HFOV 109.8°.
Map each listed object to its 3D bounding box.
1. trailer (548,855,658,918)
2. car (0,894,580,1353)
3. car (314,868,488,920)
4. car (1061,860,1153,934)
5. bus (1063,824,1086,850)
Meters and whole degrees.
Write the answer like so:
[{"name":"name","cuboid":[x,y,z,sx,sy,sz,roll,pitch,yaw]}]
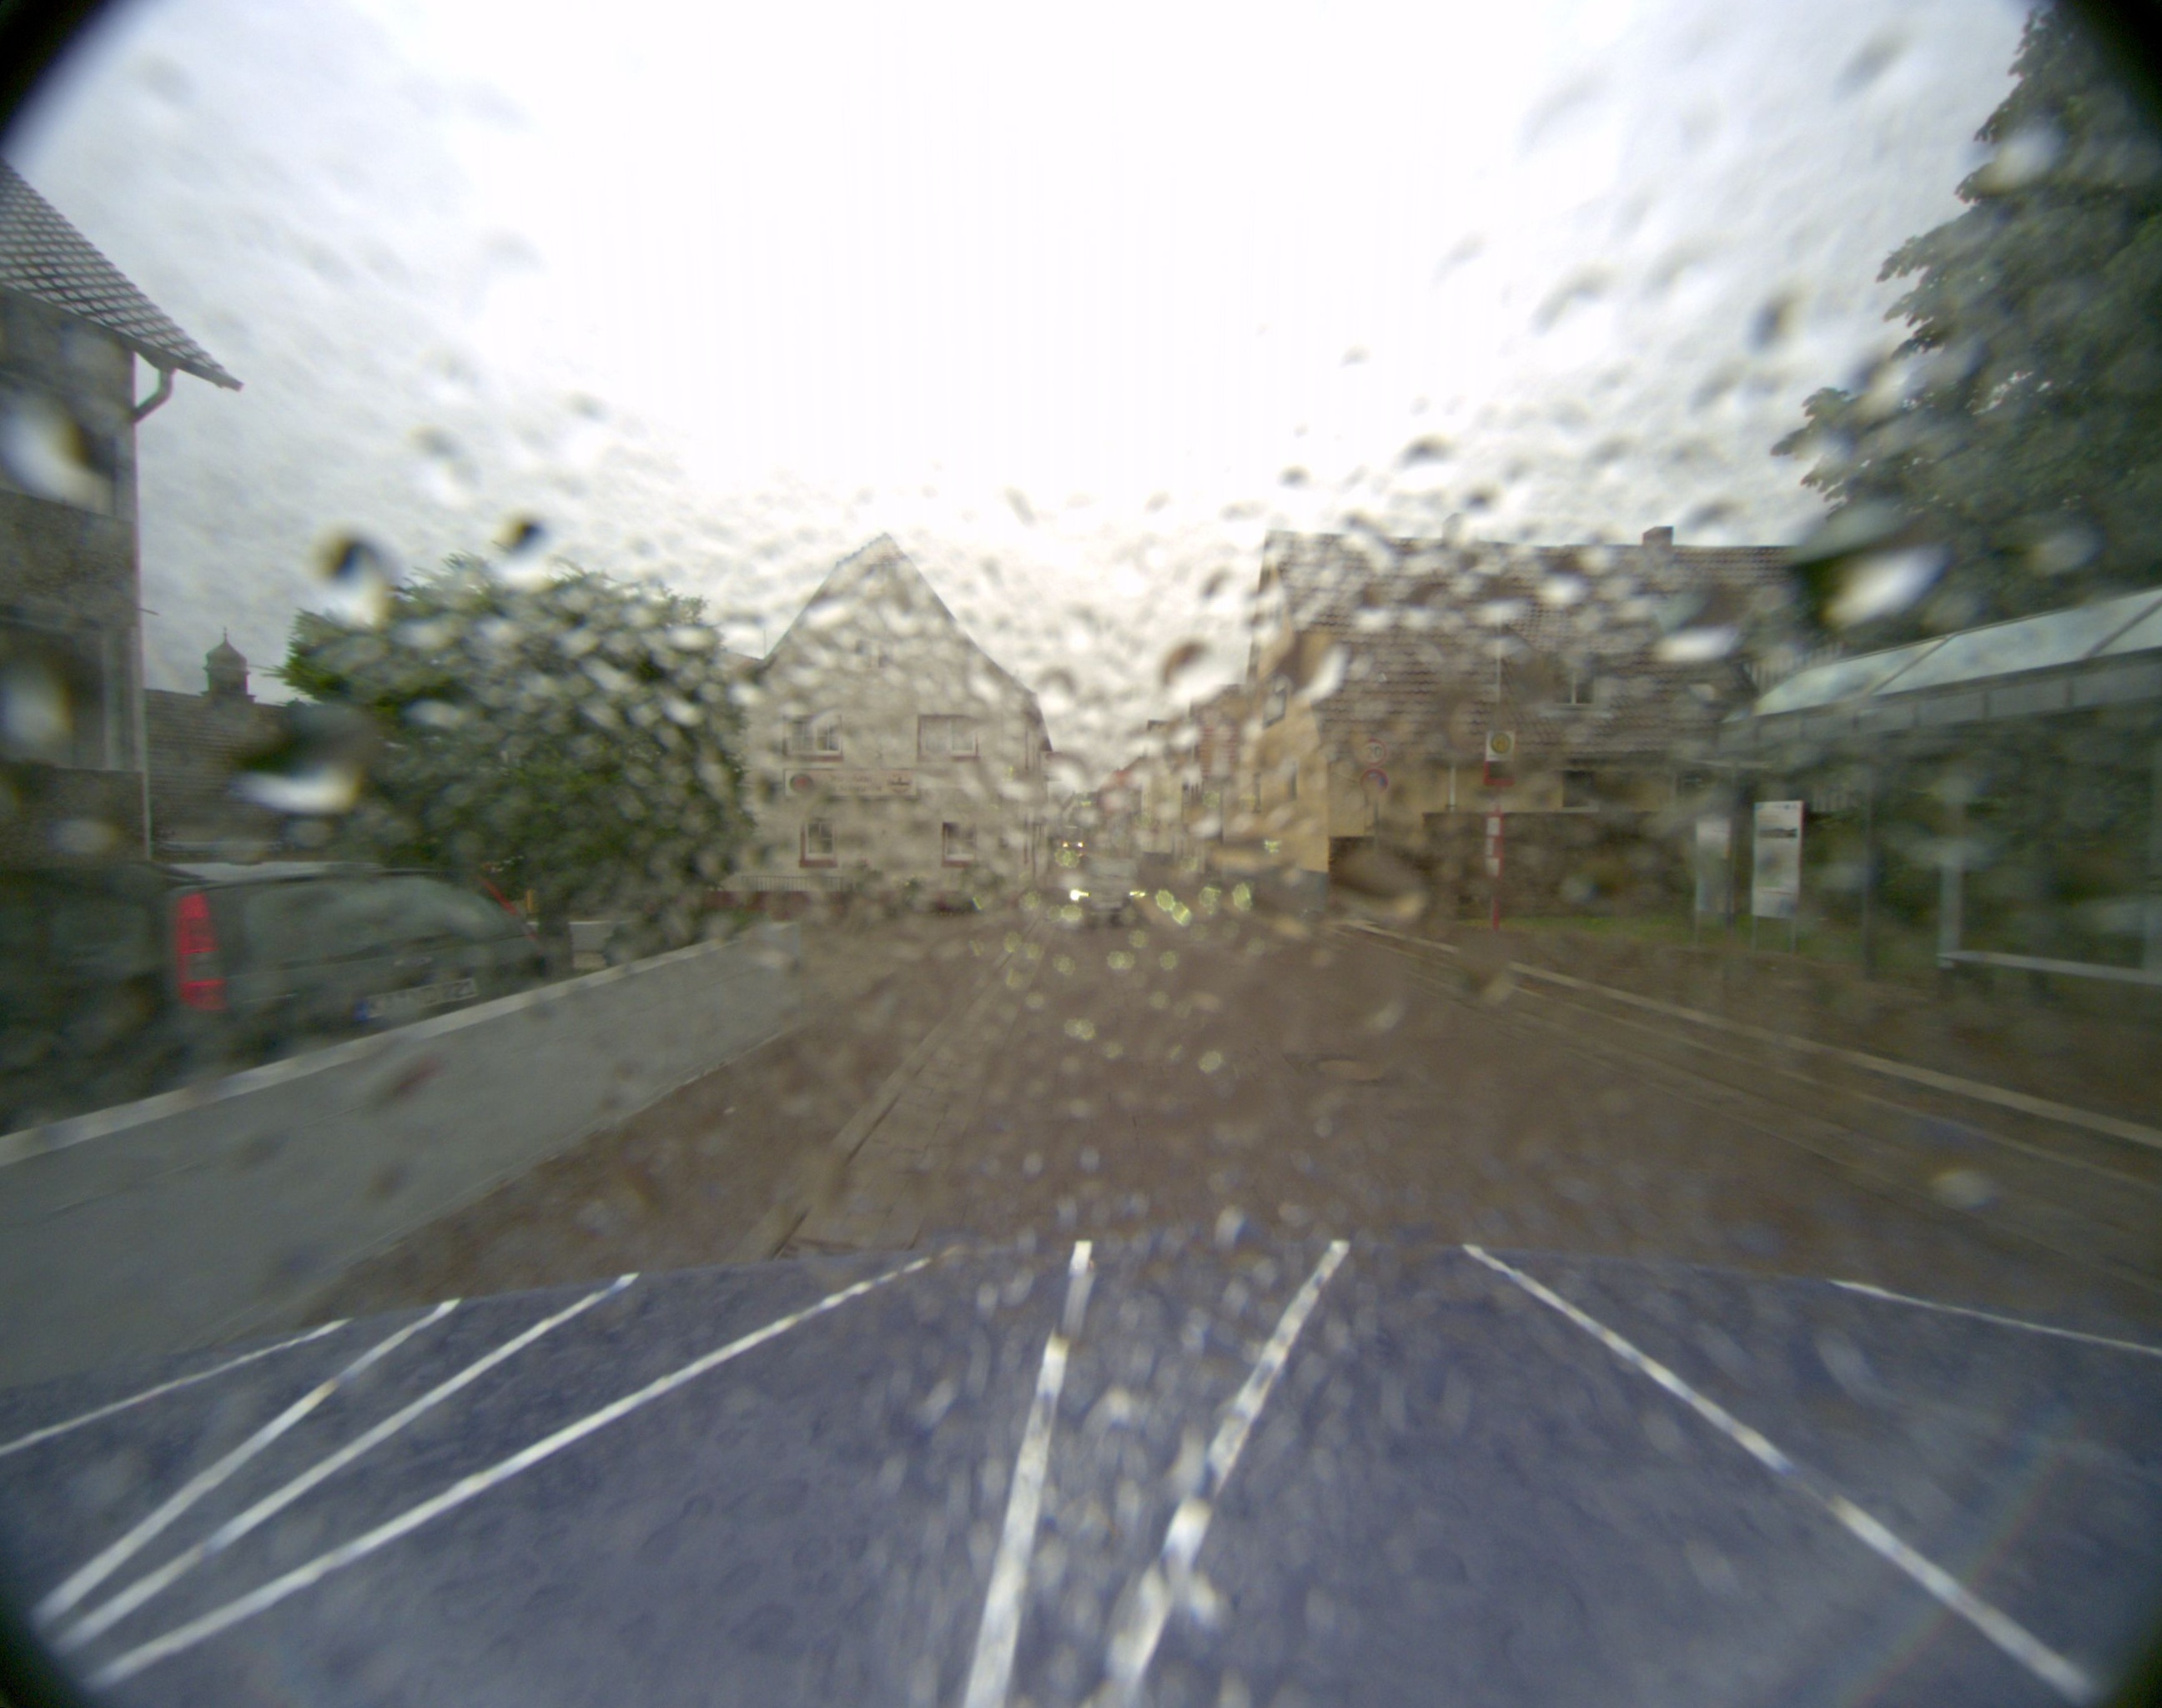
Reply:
[{"name":"trailer","cuboid":[-14.190,0.918,22.691,1.572,1.732,2.610,-2,1,0]},{"name":"car","cuboid":[-5.132,1.032,4.088,4.233,1.472,1.697,0,1,16]},{"name":"car","cuboid":[-21.545,1.200,24.288,1.630,1.368,3.830,0,1,16]},{"name":"car","cuboid":[0.585,0.872,16.885,1.800,1.342,3.738,-1,1,2]},{"name":"bus","cuboid":[-0.991,-2.596,110.380,2.893,3.590,11.972,0,2,-3]}]
